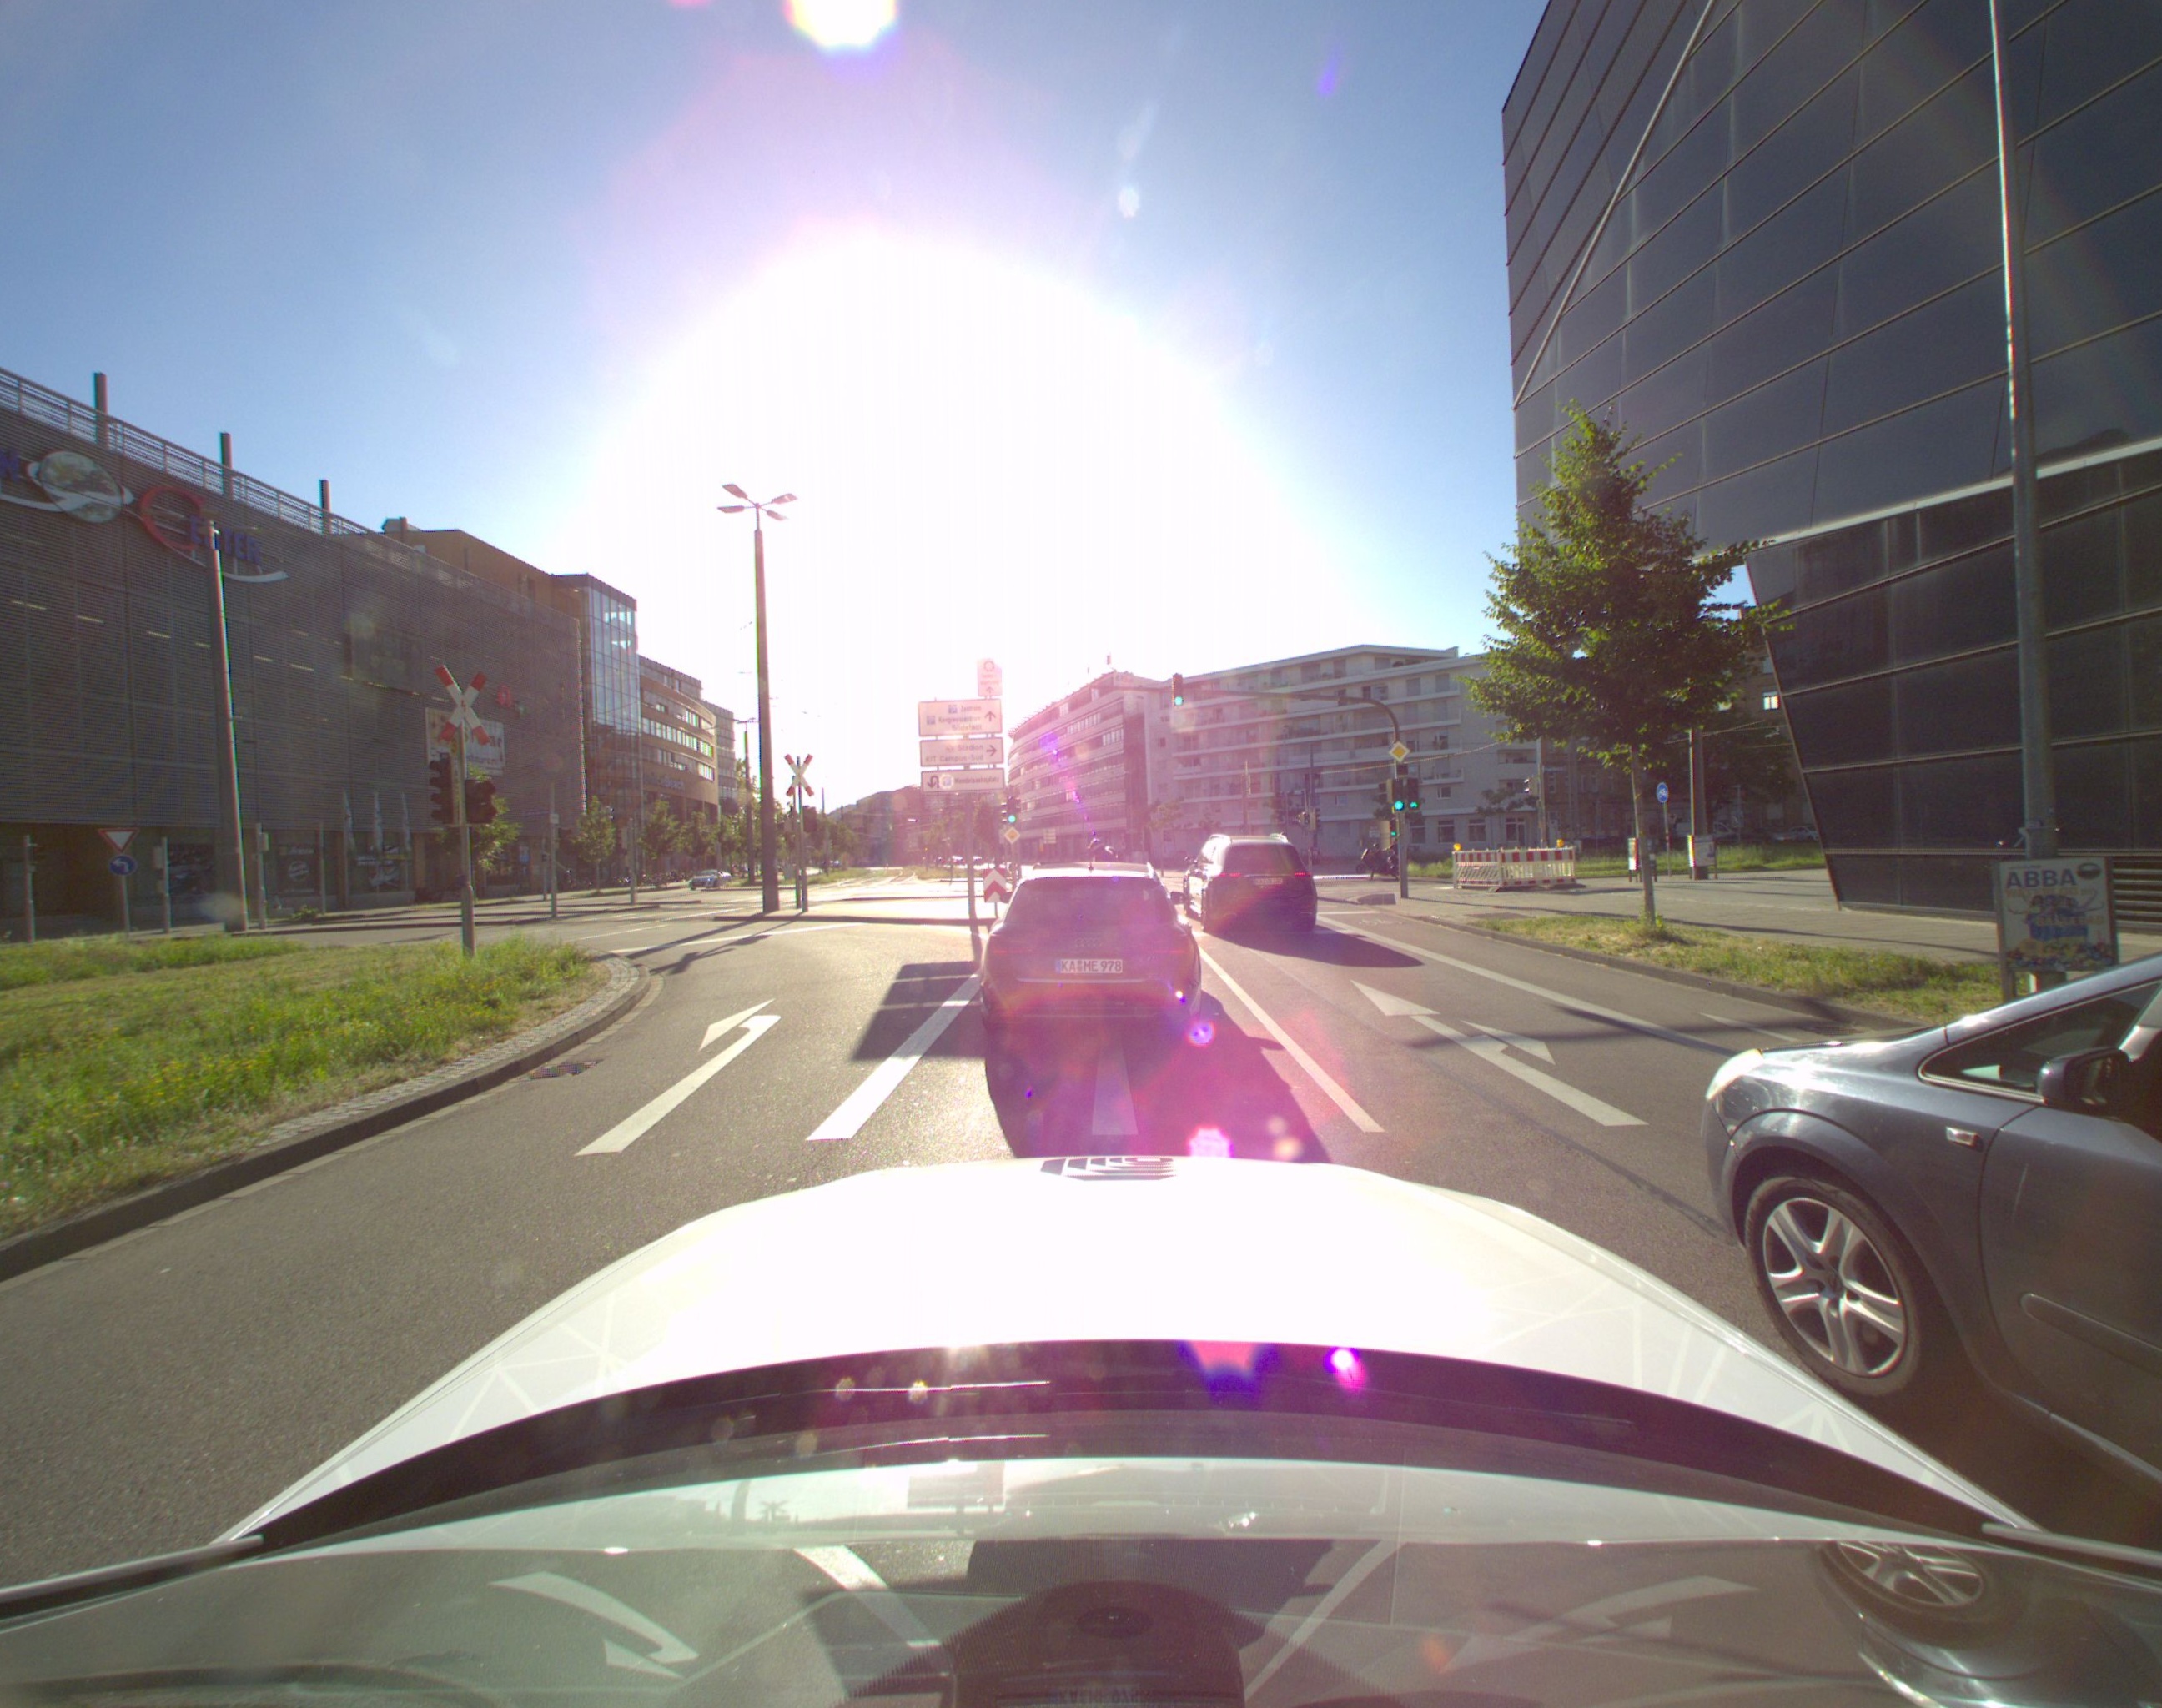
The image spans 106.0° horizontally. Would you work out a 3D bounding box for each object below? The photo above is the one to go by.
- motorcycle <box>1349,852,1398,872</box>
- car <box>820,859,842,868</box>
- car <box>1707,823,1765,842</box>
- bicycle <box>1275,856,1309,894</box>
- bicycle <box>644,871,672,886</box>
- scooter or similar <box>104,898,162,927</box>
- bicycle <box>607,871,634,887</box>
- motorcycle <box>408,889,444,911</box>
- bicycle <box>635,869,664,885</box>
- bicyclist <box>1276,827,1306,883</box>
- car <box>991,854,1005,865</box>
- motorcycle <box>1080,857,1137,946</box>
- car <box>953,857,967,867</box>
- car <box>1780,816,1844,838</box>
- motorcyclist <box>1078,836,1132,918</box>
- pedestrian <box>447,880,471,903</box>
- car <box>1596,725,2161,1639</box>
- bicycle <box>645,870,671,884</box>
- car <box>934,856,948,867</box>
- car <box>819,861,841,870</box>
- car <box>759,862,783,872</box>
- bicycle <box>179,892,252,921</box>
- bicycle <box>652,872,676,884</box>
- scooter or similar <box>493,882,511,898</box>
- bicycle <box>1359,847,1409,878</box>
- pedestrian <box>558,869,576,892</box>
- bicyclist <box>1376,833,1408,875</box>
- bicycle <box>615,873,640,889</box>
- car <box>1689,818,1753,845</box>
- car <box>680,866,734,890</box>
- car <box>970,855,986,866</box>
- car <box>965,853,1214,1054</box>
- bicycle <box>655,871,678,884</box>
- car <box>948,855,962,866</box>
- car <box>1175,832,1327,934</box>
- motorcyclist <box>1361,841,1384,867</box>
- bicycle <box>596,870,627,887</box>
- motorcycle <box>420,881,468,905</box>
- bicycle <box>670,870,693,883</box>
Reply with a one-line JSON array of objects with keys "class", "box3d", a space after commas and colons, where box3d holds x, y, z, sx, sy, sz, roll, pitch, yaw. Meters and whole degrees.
[{"class": "motorcycle", "box3d": [16.817, 0.452, 46.884, 2.441, 1.000, 1.173, -2, 0, 4]}, {"class": "car", "box3d": [-52.923, 2.031, 172.289, 1.975, 1.640, 4.438, -2, 0, 26]}, {"class": "car", "box3d": [54.162, -1.789, 67.429, 1.981, 1.354, 4.012, -3, -1, 11]}, {"class": "bicycle", "box3d": [6.325, 0.615, 24.466, 0.651, 1.043, 1.932, -2, 0, 5]}, {"class": "bicycle", "box3d": [-43.826, 2.567, 84.395, 2.546, 1.433, 0.907, -3, -1, 10]}, {"class": "scooter or similar", "box3d": [-43.748, 2.671, 37.599, 0.790, 1.207, 1.575, -3, -1, 2]}, {"class": "bicycle", "box3d": [-43.709, 2.360, 77.247, 2.070, 1.433, 0.863, -3, -1, 10]}, {"class": "motorcycle", "box3d": [-41.803, 2.934, 52.013, 0.673, 1.238, 1.894, -3, -1, 1]}, {"class": "bicycle", "box3d": [-43.499, 2.288, 82.139, 2.546, 1.433, 0.907, -3, -1, 10]}, {"class": "bicyclist", "box3d": [6.302, 0.021, 24.466, 0.651, 1.642, 0.973, -2, 0, 5]}, {"class": "car", "box3d": [-15.314, 1.064, 149.347, 1.996, 1.838, 3.981, -3, -1, -14]}, {"class": "motorcycle", "box3d": [0.472, 0.769, 14.035, 0.859, 1.393, 1.894, -2, 0, 2]}, {"class": "car", "box3d": [-20.859, 1.336, 140.035, 1.996, 1.596, 3.981, -3, -1, -14]}, {"class": "car", "box3d": [58.477, -2.136, 65.234, 1.981, 1.486, 4.012, -3, -1, 11]}, {"class": "motorcyclist", "box3d": [0.408, 0.383, 13.931, 0.859, 1.326, 0.681, -2, 0, 1]}, {"class": "pedestrian", "box3d": [-44.287, 2.635, 57.966, 0.984, 1.566, 0.829, -3, -1, 1]}, {"class": "car", "box3d": [2.869, 0.608, 1.080, 1.740, 1.696, 4.261, 0, 0, 1]}, {"class": "bicycle", "box3d": [-47.201, 2.530, 90.910, 2.591, 1.433, 0.773, -3, -1, 10]}, {"class": "car", "box3d": [-25.073, 1.331, 145.396, 1.998, 1.706, 3.977, -3, -1, -17]}, {"class": "car", "box3d": [-50.669, 2.272, 164.560, 1.977, 1.640, 4.434, -2, 0, 20]}, {"class": "car", "box3d": [-60.948, 2.536, 160.124, 4.020, 1.706, 1.977, -2, -1, -38]}, {"class": "bicycle", "box3d": [-41.859, 2.502, 39.429, 0.796, 1.220, 2.418, -2, 0, 5]}, {"class": "bicycle", "box3d": [-47.314, 2.696, 92.340, 2.399, 1.236, 0.747, -3, -1, 10]}, {"class": "scooter or similar", "box3d": [-42.934, 2.662, 60.415, 0.419, 1.110, 1.153, -3, -1, 2]}, {"class": "bicycle", "box3d": [12.952, 0.354, 34.852, 0.769, 1.262, 2.066, -2, 0, -22]}, {"class": "pedestrian", "box3d": [-42.339, 2.211, 67.072, 0.823, 1.824, 0.905, -3, -1, 3]}, {"class": "bicyclist", "box3d": [13.128, 0.001, 34.362, 0.769, 1.706, 0.923, -2, 0, -22]}, {"class": "bicycle", "box3d": [-43.623, 2.563, 78.353, 1.965, 1.433, 0.809, -3, -1, 10]}, {"class": "car", "box3d": [59.118, -2.058, 75.319, 4.543, 2.310, 2.013, -2, 0, 37]}, {"class": "car", "box3d": [-27.846, 1.753, 60.793, 1.989, 1.545, 4.526, -2, 0, -2]}, {"class": "car", "box3d": [-17.489, 1.137, 137.603, 1.999, 1.596, 3.976, -3, -1, -17]}, {"class": "car", "box3d": [0.112, 0.733, 8.040, 1.835, 1.454, 4.001, 0, 0, 1]}, {"class": "bicycle", "box3d": [-47.434, 2.674, 93.193, 2.231, 1.433, 0.720, -3, -1, 10]}, {"class": "car", "box3d": [-22.707, 1.200, 146.910, 1.998, 1.706, 3.977, -3, -1, -17]}, {"class": "car", "box3d": [3.170, 0.478, 16.157, 1.997, 1.715, 4.369, 0, 0, -2]}, {"class": "motorcyclist", "box3d": [16.752, -0.007, 46.884, 0.920, 1.481, 1.173, -2, 0, 5]}, {"class": "bicycle", "box3d": [-43.908, 2.317, 76.178, 2.355, 1.433, 1.079, -3, -1, 10]}, {"class": "motorcycle", "box3d": [-42.768, 2.589, 54.689, 0.962, 1.446, 2.619, -2, 0, 5]}, {"class": "bicycle", "box3d": [-47.321, 2.701, 96.405, 2.405, 1.433, 0.791, -3, -1, 10]}]
